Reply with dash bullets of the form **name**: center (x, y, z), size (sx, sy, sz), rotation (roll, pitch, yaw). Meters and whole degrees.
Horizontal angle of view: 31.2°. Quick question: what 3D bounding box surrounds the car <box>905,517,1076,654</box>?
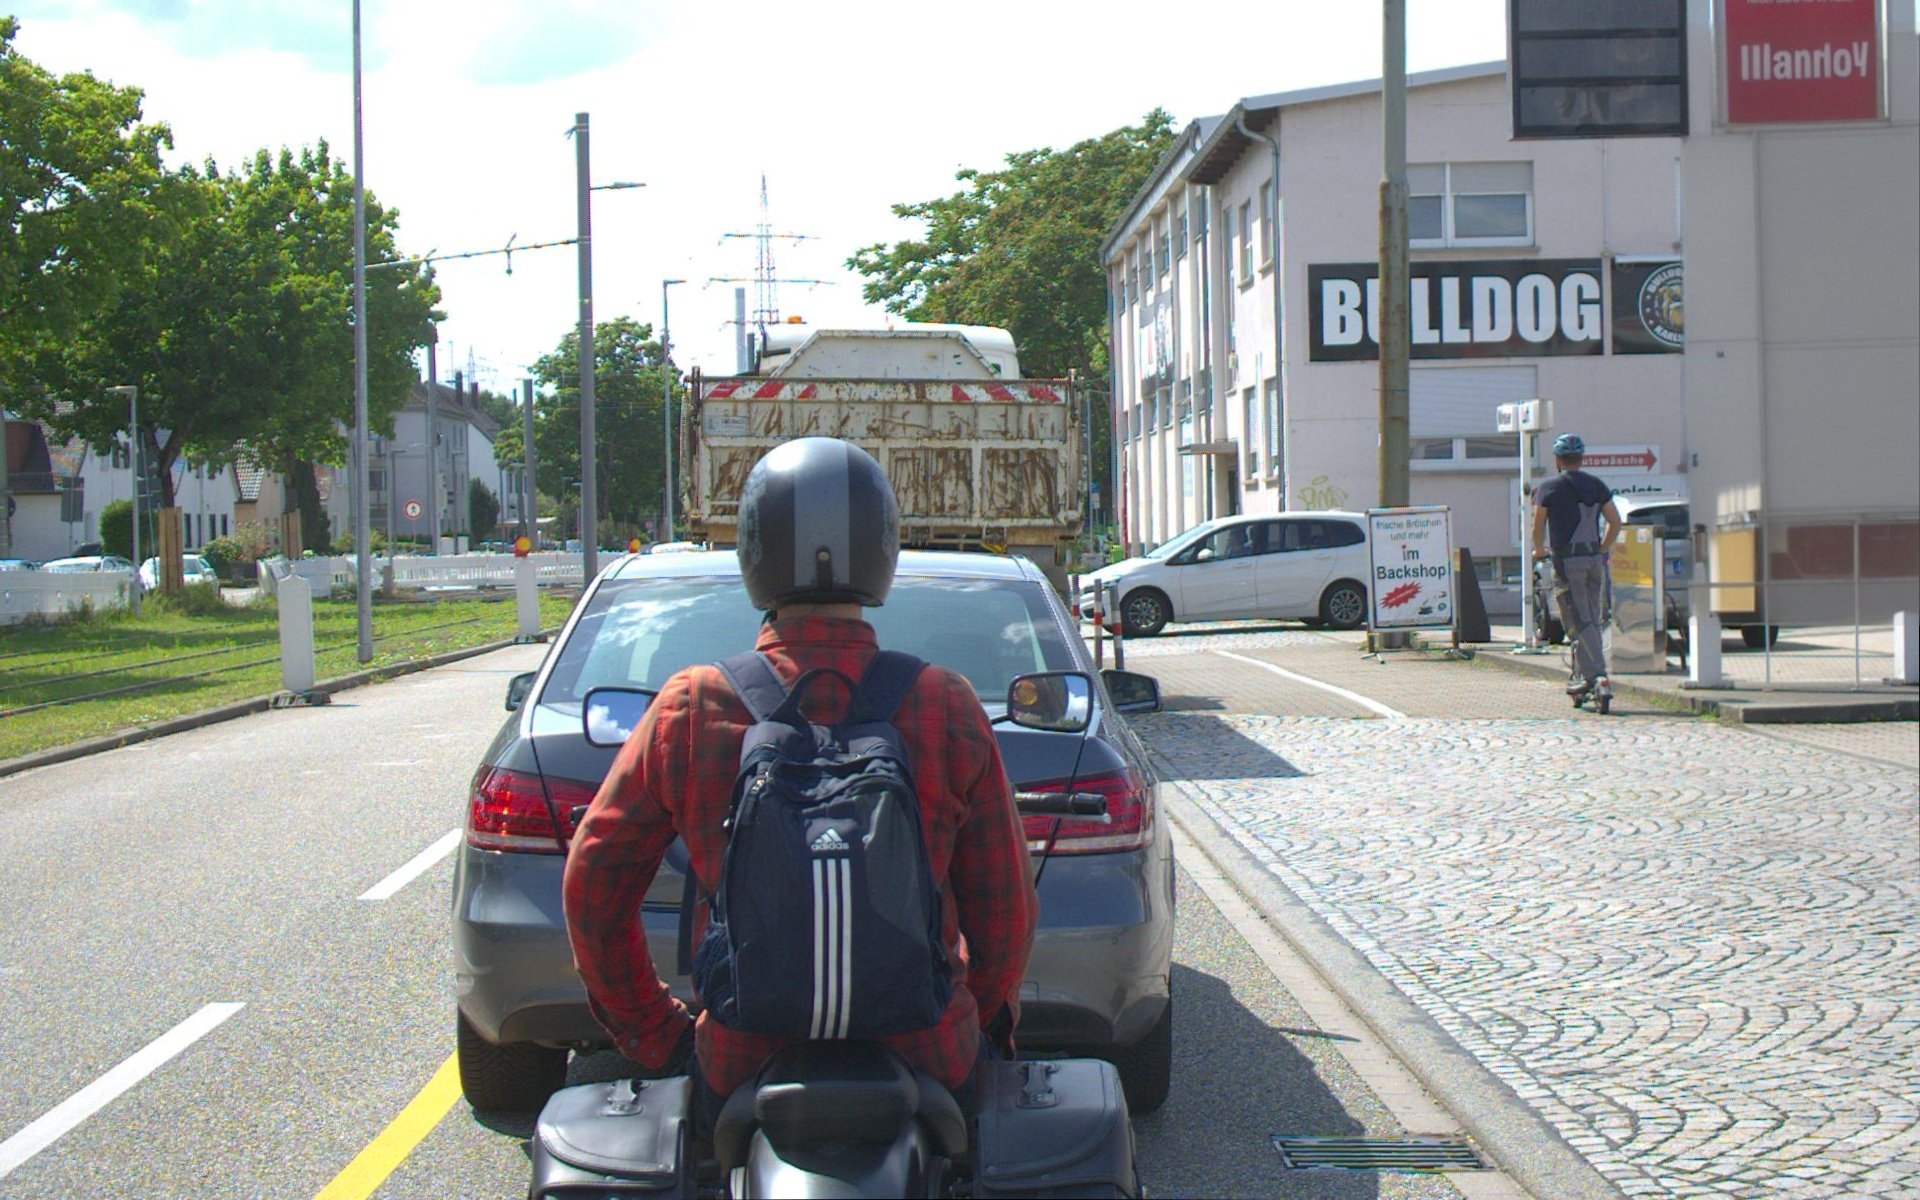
- **car**: center (0.319, -0.200, 38.920), size (1.821, 1.459, 4.000), rotation (0, 1, 0)

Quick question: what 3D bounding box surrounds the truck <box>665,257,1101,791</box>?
- **truck**: center (-0.482, -0.654, 26.045), size (2.610, 3.244, 9.183), rotation (-2, 2, 0)

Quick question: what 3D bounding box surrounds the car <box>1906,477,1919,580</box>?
- **car**: center (17.271, -1.203, 54.392), size (3.987, 1.643, 1.966), rotation (-2, 1, -1)

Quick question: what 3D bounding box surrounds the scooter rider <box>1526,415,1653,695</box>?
- **scooter rider**: center (4.490, -0.320, 24.565), size (0.717, 1.956, 0.785), rotation (-1, 1, -1)

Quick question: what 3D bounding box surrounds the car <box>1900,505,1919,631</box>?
- **car**: center (11.820, -0.377, 37.276), size (1.959, 1.415, 4.000), rotation (-2, 1, -3)

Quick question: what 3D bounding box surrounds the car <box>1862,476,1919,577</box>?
- **car**: center (17.232, -1.269, 56.937), size (3.987, 1.643, 1.966), rotation (-2, 1, -1)

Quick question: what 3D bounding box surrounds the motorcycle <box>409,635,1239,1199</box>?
- **motorcycle**: center (-0.177, 0.754, 5.256), size (0.939, 1.316, 2.645), rotation (1, 1, -1)

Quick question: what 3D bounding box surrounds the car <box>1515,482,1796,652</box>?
- **car**: center (7.316, -0.348, 36.542), size (1.959, 1.643, 4.000), rotation (-2, 1, -3)

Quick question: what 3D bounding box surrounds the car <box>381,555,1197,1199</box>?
- **car**: center (-0.406, 0.608, 9.728), size (1.821, 1.419, 4.000), rotation (0, 1, -1)

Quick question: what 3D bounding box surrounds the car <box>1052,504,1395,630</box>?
- **car**: center (3.588, -0.452, 47.199), size (4.329, 1.546, 1.950), rotation (-2, 1, -8)

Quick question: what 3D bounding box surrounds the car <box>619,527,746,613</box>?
- **car**: center (-4.821, -0.530, 60.233), size (1.846, 1.382, 4.345), rotation (-2, 1, 0)

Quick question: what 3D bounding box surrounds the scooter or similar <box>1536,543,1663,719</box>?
- **scooter or similar**: center (4.513, 0.202, 24.330), size (0.540, 1.191, 1.611), rotation (-2, 1, -1)

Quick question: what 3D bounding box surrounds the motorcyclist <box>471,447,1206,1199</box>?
- **motorcyclist**: center (-0.170, 0.604, 5.073), size (0.939, 1.609, 1.205), rotation (1, 1, -1)
